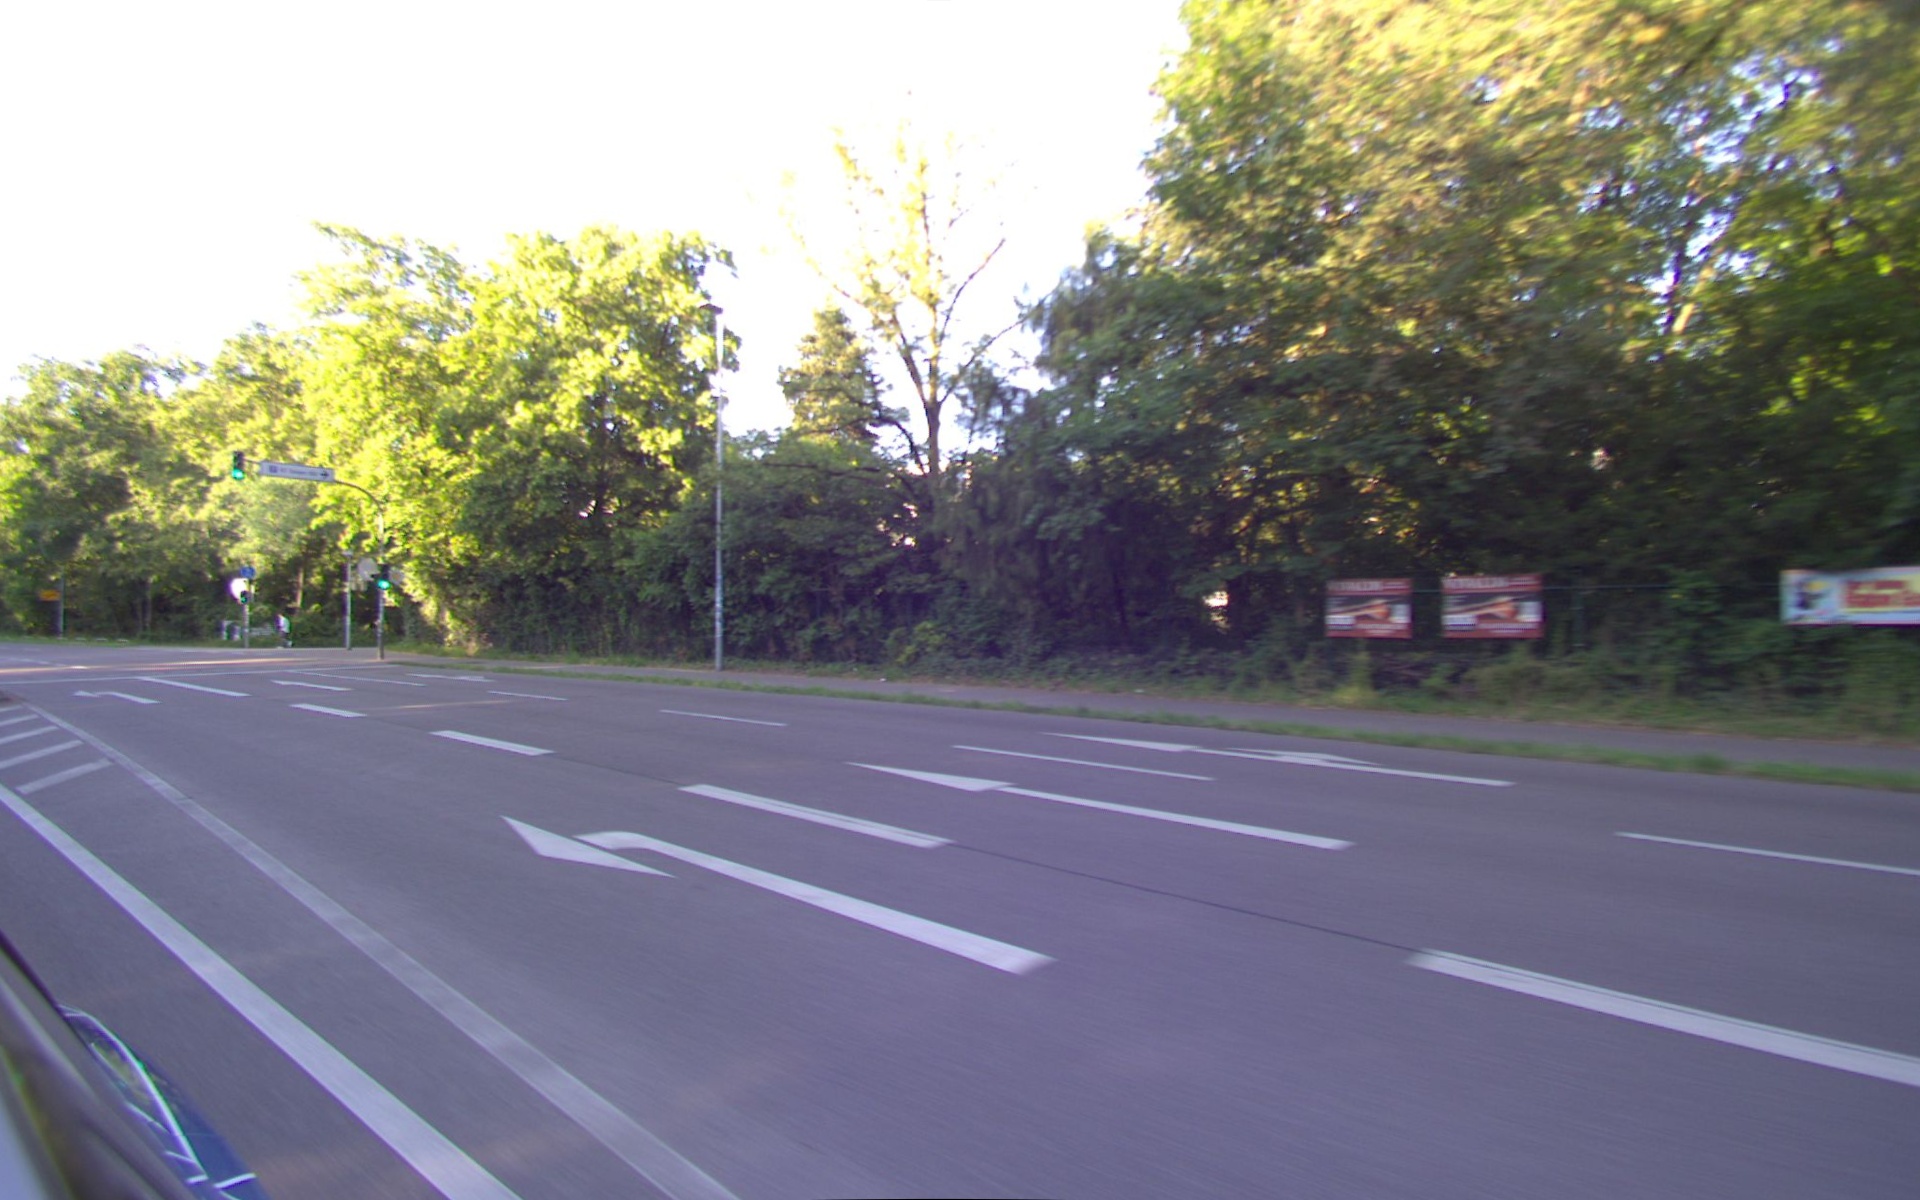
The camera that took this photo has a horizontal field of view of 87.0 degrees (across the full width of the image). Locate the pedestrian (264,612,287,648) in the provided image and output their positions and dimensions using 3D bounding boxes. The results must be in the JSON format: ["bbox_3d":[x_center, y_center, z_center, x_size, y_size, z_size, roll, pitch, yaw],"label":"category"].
[{"bbox_3d":[-33.003,1.452,48.794,0.639,1.724,0.822,0,-1,-14],"label":"pedestrian"}]
